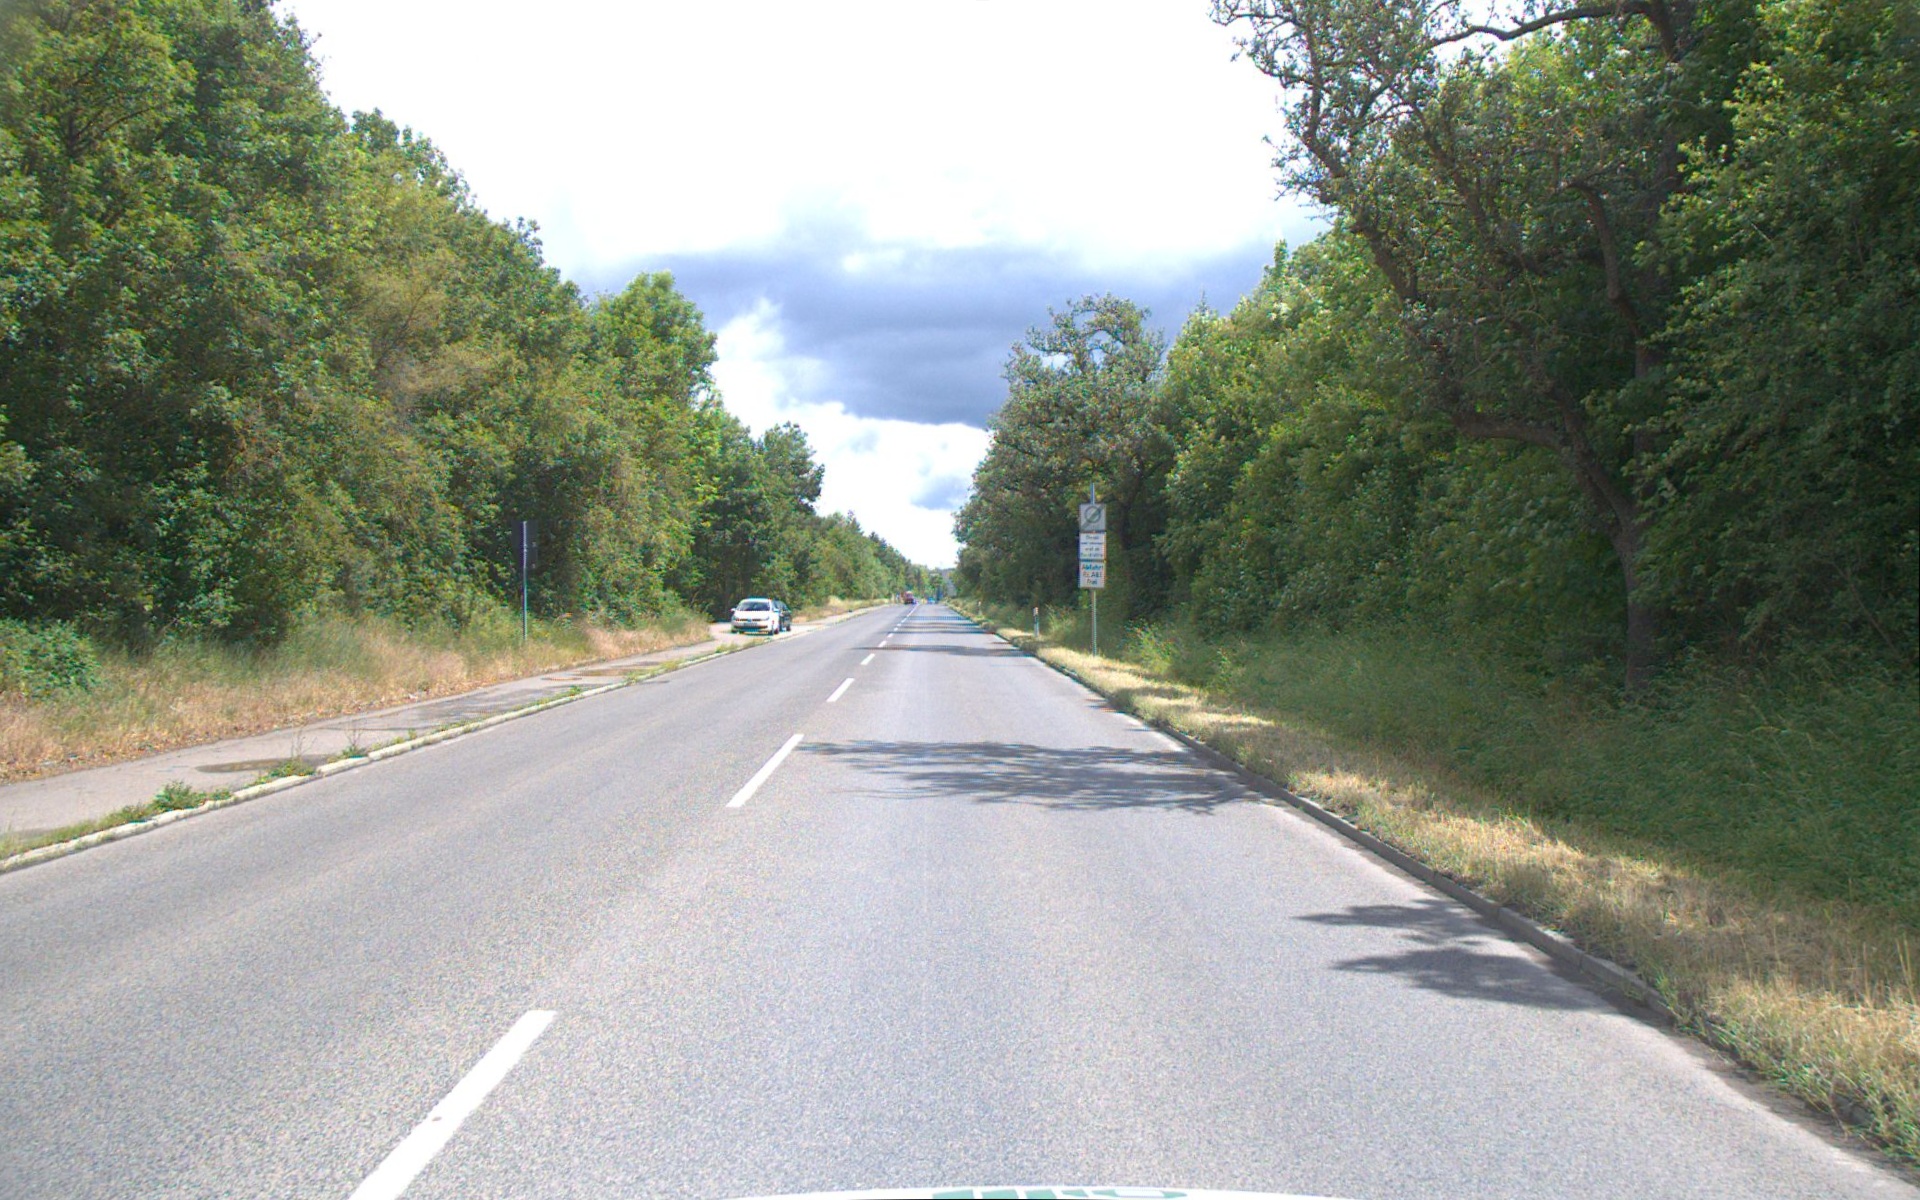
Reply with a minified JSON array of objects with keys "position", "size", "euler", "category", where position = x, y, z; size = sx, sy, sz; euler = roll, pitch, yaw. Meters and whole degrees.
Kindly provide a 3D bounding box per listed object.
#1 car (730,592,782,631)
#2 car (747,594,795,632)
[{"position":[-8.521,0.479,69.432],"size":[1.762,1.570,3.953],"euler":[-1,-1,-1],"category":"car"},{"position":[-8.778,0.582,76.998],"size":[1.761,1.653,3.955],"euler":[-1,1,0],"category":"car"}]
